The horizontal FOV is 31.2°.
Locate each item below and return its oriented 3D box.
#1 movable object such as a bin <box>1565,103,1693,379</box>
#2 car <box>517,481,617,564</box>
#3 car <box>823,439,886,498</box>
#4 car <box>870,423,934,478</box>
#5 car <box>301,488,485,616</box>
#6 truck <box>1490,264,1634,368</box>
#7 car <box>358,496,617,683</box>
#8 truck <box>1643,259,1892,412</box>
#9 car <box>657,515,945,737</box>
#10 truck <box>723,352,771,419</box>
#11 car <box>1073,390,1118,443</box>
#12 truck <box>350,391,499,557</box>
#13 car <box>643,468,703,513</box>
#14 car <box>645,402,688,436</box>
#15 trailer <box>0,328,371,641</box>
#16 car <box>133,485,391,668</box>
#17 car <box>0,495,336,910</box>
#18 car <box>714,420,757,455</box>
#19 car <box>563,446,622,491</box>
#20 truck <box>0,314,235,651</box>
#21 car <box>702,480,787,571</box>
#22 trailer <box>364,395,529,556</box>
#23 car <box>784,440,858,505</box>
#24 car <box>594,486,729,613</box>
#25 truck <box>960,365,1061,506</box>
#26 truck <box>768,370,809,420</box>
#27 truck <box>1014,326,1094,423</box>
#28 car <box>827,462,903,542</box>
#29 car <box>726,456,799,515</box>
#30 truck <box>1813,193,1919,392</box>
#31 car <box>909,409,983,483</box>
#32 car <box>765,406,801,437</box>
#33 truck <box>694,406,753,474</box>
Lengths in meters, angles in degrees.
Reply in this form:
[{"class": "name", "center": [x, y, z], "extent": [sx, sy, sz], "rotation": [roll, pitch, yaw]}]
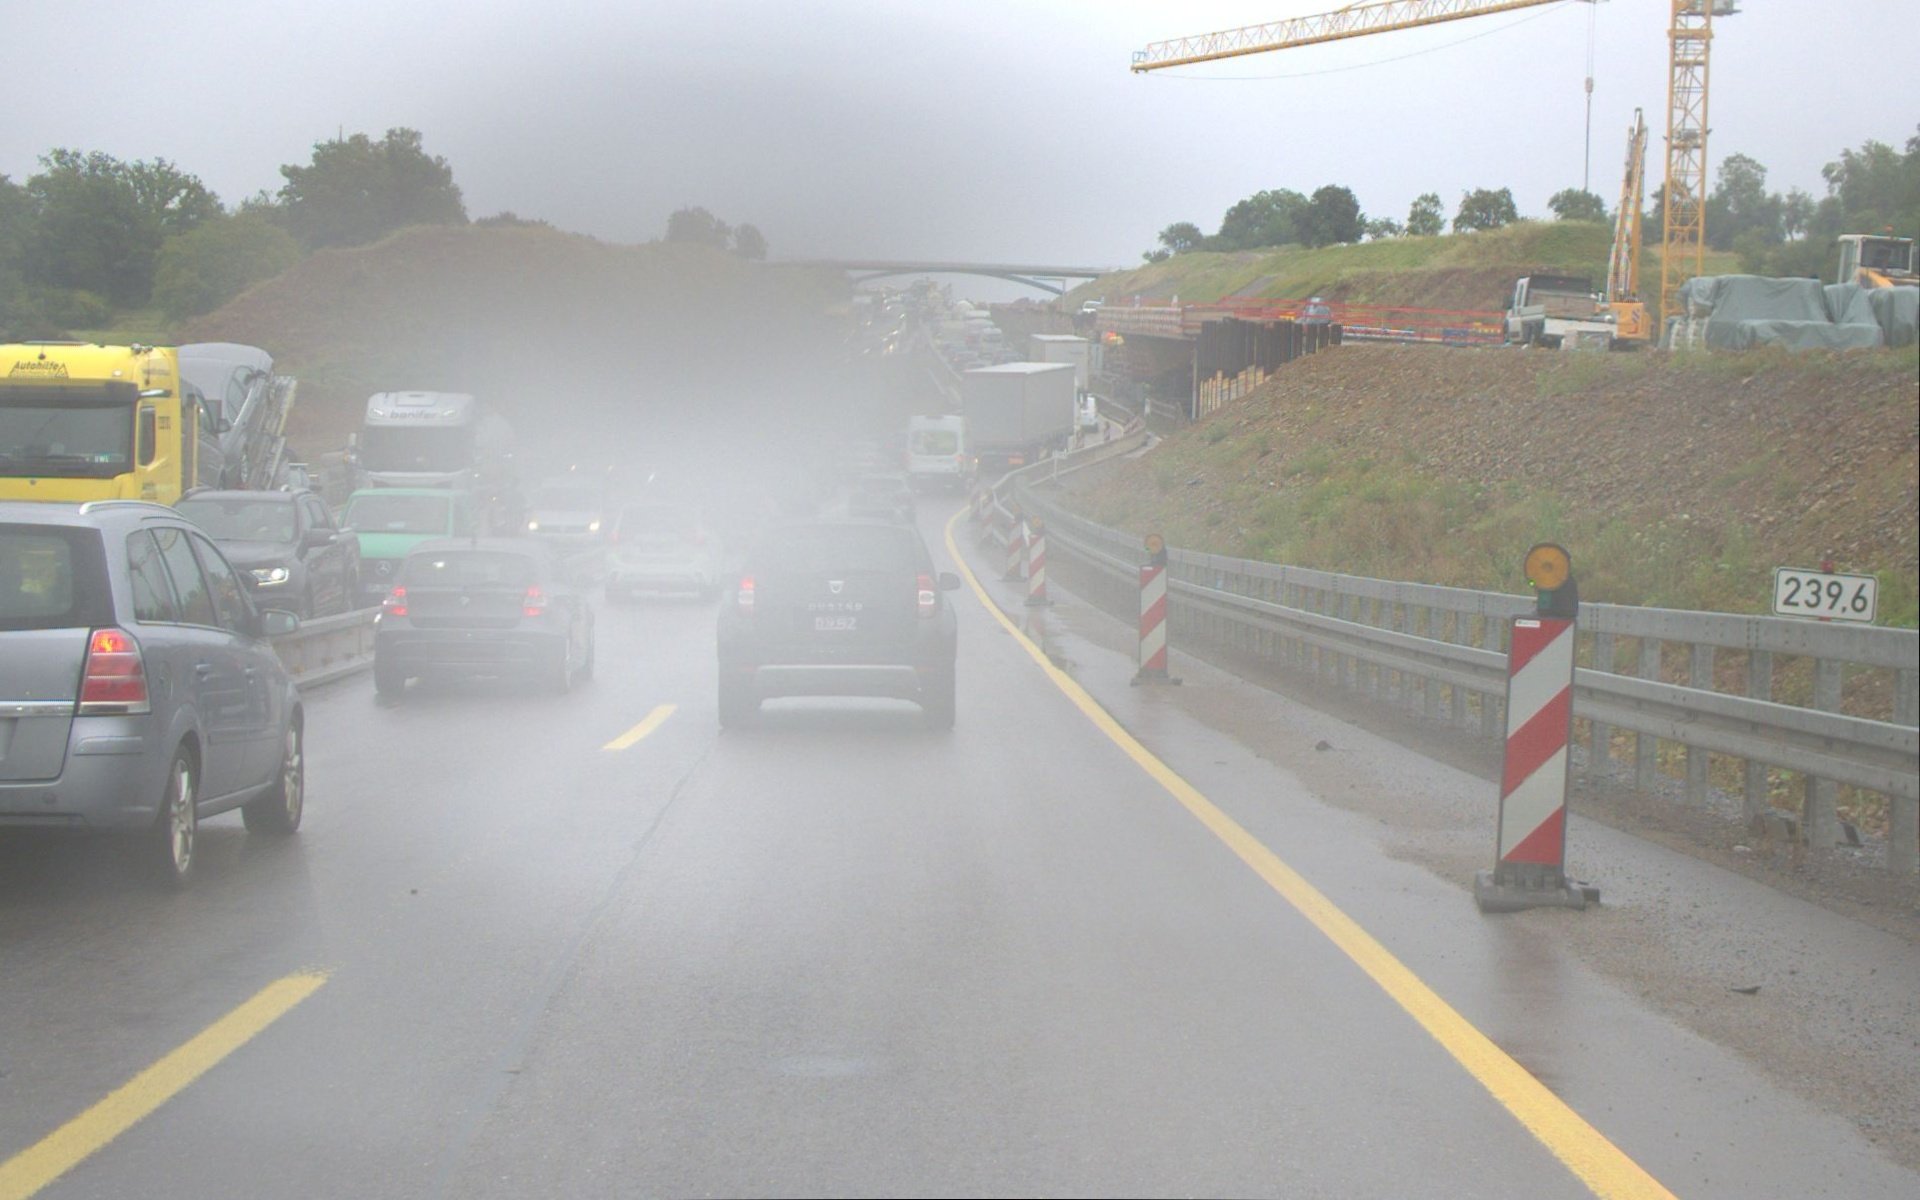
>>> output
[{"class": "movable object such as a bin", "center": [28.347, -14.949, 145.270], "extent": [4.721, 10.804, 10.298], "rotation": [1, 1, 13]}, {"class": "car", "center": [-8.837, -1.759, 77.524], "extent": [1.865, 1.793, 4.163], "rotation": [1, 2, -2]}, {"class": "car", "center": [-3.980, -4.961, 130.083], "extent": [1.994, 2.155, 4.140], "rotation": [1, 1, 4]}, {"class": "car", "center": [-2.350, -6.086, 140.346], "extent": [1.994, 2.155, 4.139], "rotation": [1, 1, 8]}, {"class": "car", "center": [-8.212, -0.741, 50.191], "extent": [1.993, 1.753, 4.688], "rotation": [1, 2, -1]}, {"class": "truck", "center": [17.130, -8.058, 98.288], "extent": [2.645, 2.546, 6.986], "rotation": [1, 1, -2]}, {"class": "car", "center": [-4.303, -0.143, 31.892], "extent": [1.993, 1.595, 4.141], "rotation": [1, 1, -3]}, {"class": "truck", "center": [17.598, -5.717, 75.620], "extent": [3.395, 2.865, 8.960], "rotation": [1, 1, 0]}, {"class": "car", "center": [-1.183, 0.139, 27.171], "extent": [2.081, 1.595, 4.141], "rotation": [1, 1, -1]}, {"class": "truck", "center": [-12.992, -13.141, 210.325], "extent": [2.641, 3.956, 9.216], "rotation": [1, 4, -2]}, {"class": "car", "center": [6.763, -9.166, 171.965], "extent": [1.993, 2.475, 4.741], "rotation": [1, 1, 0]}, {"class": "truck", "center": [-12.355, -2.894, 79.778], "extent": [2.620, 3.665, 6.596], "rotation": [1, 2, -2]}, {"class": "car", "center": [-9.684, -3.719, 116.338], "extent": [1.772, 1.499, 4.680], "rotation": [0, 2, -2]}, {"class": "car", "center": [-13.774, -8.480, 161.509], "extent": [1.787, 1.533, 4.312], "rotation": [0, 2, -1]}, {"class": "trailer", "center": [-11.529, -1.700, 52.333], "extent": [2.749, 4.028, 15.361], "rotation": [1, 1, -1]}, {"class": "car", "center": [-7.341, -0.295, 36.641], "extent": [1.787, 1.799, 5.190], "rotation": [-1, 1, -1]}, {"class": "car", "center": [-4.141, 0.334, 15.314], "extent": [1.993, 1.595, 4.141], "rotation": [1, 1, -1]}, {"class": "car", "center": [-10.226, -7.403, 156.656], "extent": [1.787, 1.533, 4.312], "rotation": [0, 2, -1]}, {"class": "car", "center": [-13.215, -4.743, 123.746], "extent": [1.787, 1.541, 4.001], "rotation": [1, 2, -2]}, {"class": "truck", "center": [-11.394, -1.501, 44.642], "extent": [2.749, 4.048, 6.149], "rotation": [1, 1, -1]}, {"class": "car", "center": [-5.309, -1.827, 84.292], "extent": [1.993, 2.155, 4.141], "rotation": [1, 1, -4]}, {"class": "trailer", "center": [-12.537, -3.024, 84.885], "extent": [2.620, 3.665, 12.006], "rotation": [1, 2, -2]}, {"class": "car", "center": [-4.709, -4.311, 116.781], "extent": [1.994, 2.155, 4.140], "rotation": [1, 1, 5]}, {"class": "car", "center": [-4.885, -0.857, 56.761], "extent": [1.993, 2.007, 3.894], "rotation": [1, 1, -2]}, {"class": "truck", "center": [2.091, -6.556, 139.017], "extent": [3.102, 5.407, 9.441], "rotation": [1, 1, 6]}, {"class": "truck", "center": [-9.653, -11.550, 193.814], "extent": [2.147, 2.704, 6.017], "rotation": [1, 3, -2]}, {"class": "truck", "center": [5.373, -12.939, 198.671], "extent": [3.803, 5.025, 12.923], "rotation": [1, 1, -2]}, {"class": "car", "center": [-2.623, -2.724, 95.886], "extent": [1.993, 2.155, 4.141], "rotation": [1, 1, 0]}, {"class": "car", "center": [-6.026, -3.492, 105.209], "extent": [1.993, 1.755, 3.815], "rotation": [1, 1, 0]}, {"class": "truck", "center": [21.965, -7.089, 80.250], "extent": [2.373, 4.203, 5.980], "rotation": [1, 1, -2]}, {"class": "car", "center": [-0.463, -5.353, 120.146], "extent": [1.994, 2.475, 4.981], "rotation": [1, 1, 6]}, {"class": "car", "center": [-8.838, -8.928, 171.860], "extent": [1.676, 1.518, 4.346], "rotation": [0, 3, -2]}, {"class": "truck", "center": [-9.457, -6.395, 137.805], "extent": [2.078, 2.567, 5.963], "rotation": [1, 1, -2]}]
